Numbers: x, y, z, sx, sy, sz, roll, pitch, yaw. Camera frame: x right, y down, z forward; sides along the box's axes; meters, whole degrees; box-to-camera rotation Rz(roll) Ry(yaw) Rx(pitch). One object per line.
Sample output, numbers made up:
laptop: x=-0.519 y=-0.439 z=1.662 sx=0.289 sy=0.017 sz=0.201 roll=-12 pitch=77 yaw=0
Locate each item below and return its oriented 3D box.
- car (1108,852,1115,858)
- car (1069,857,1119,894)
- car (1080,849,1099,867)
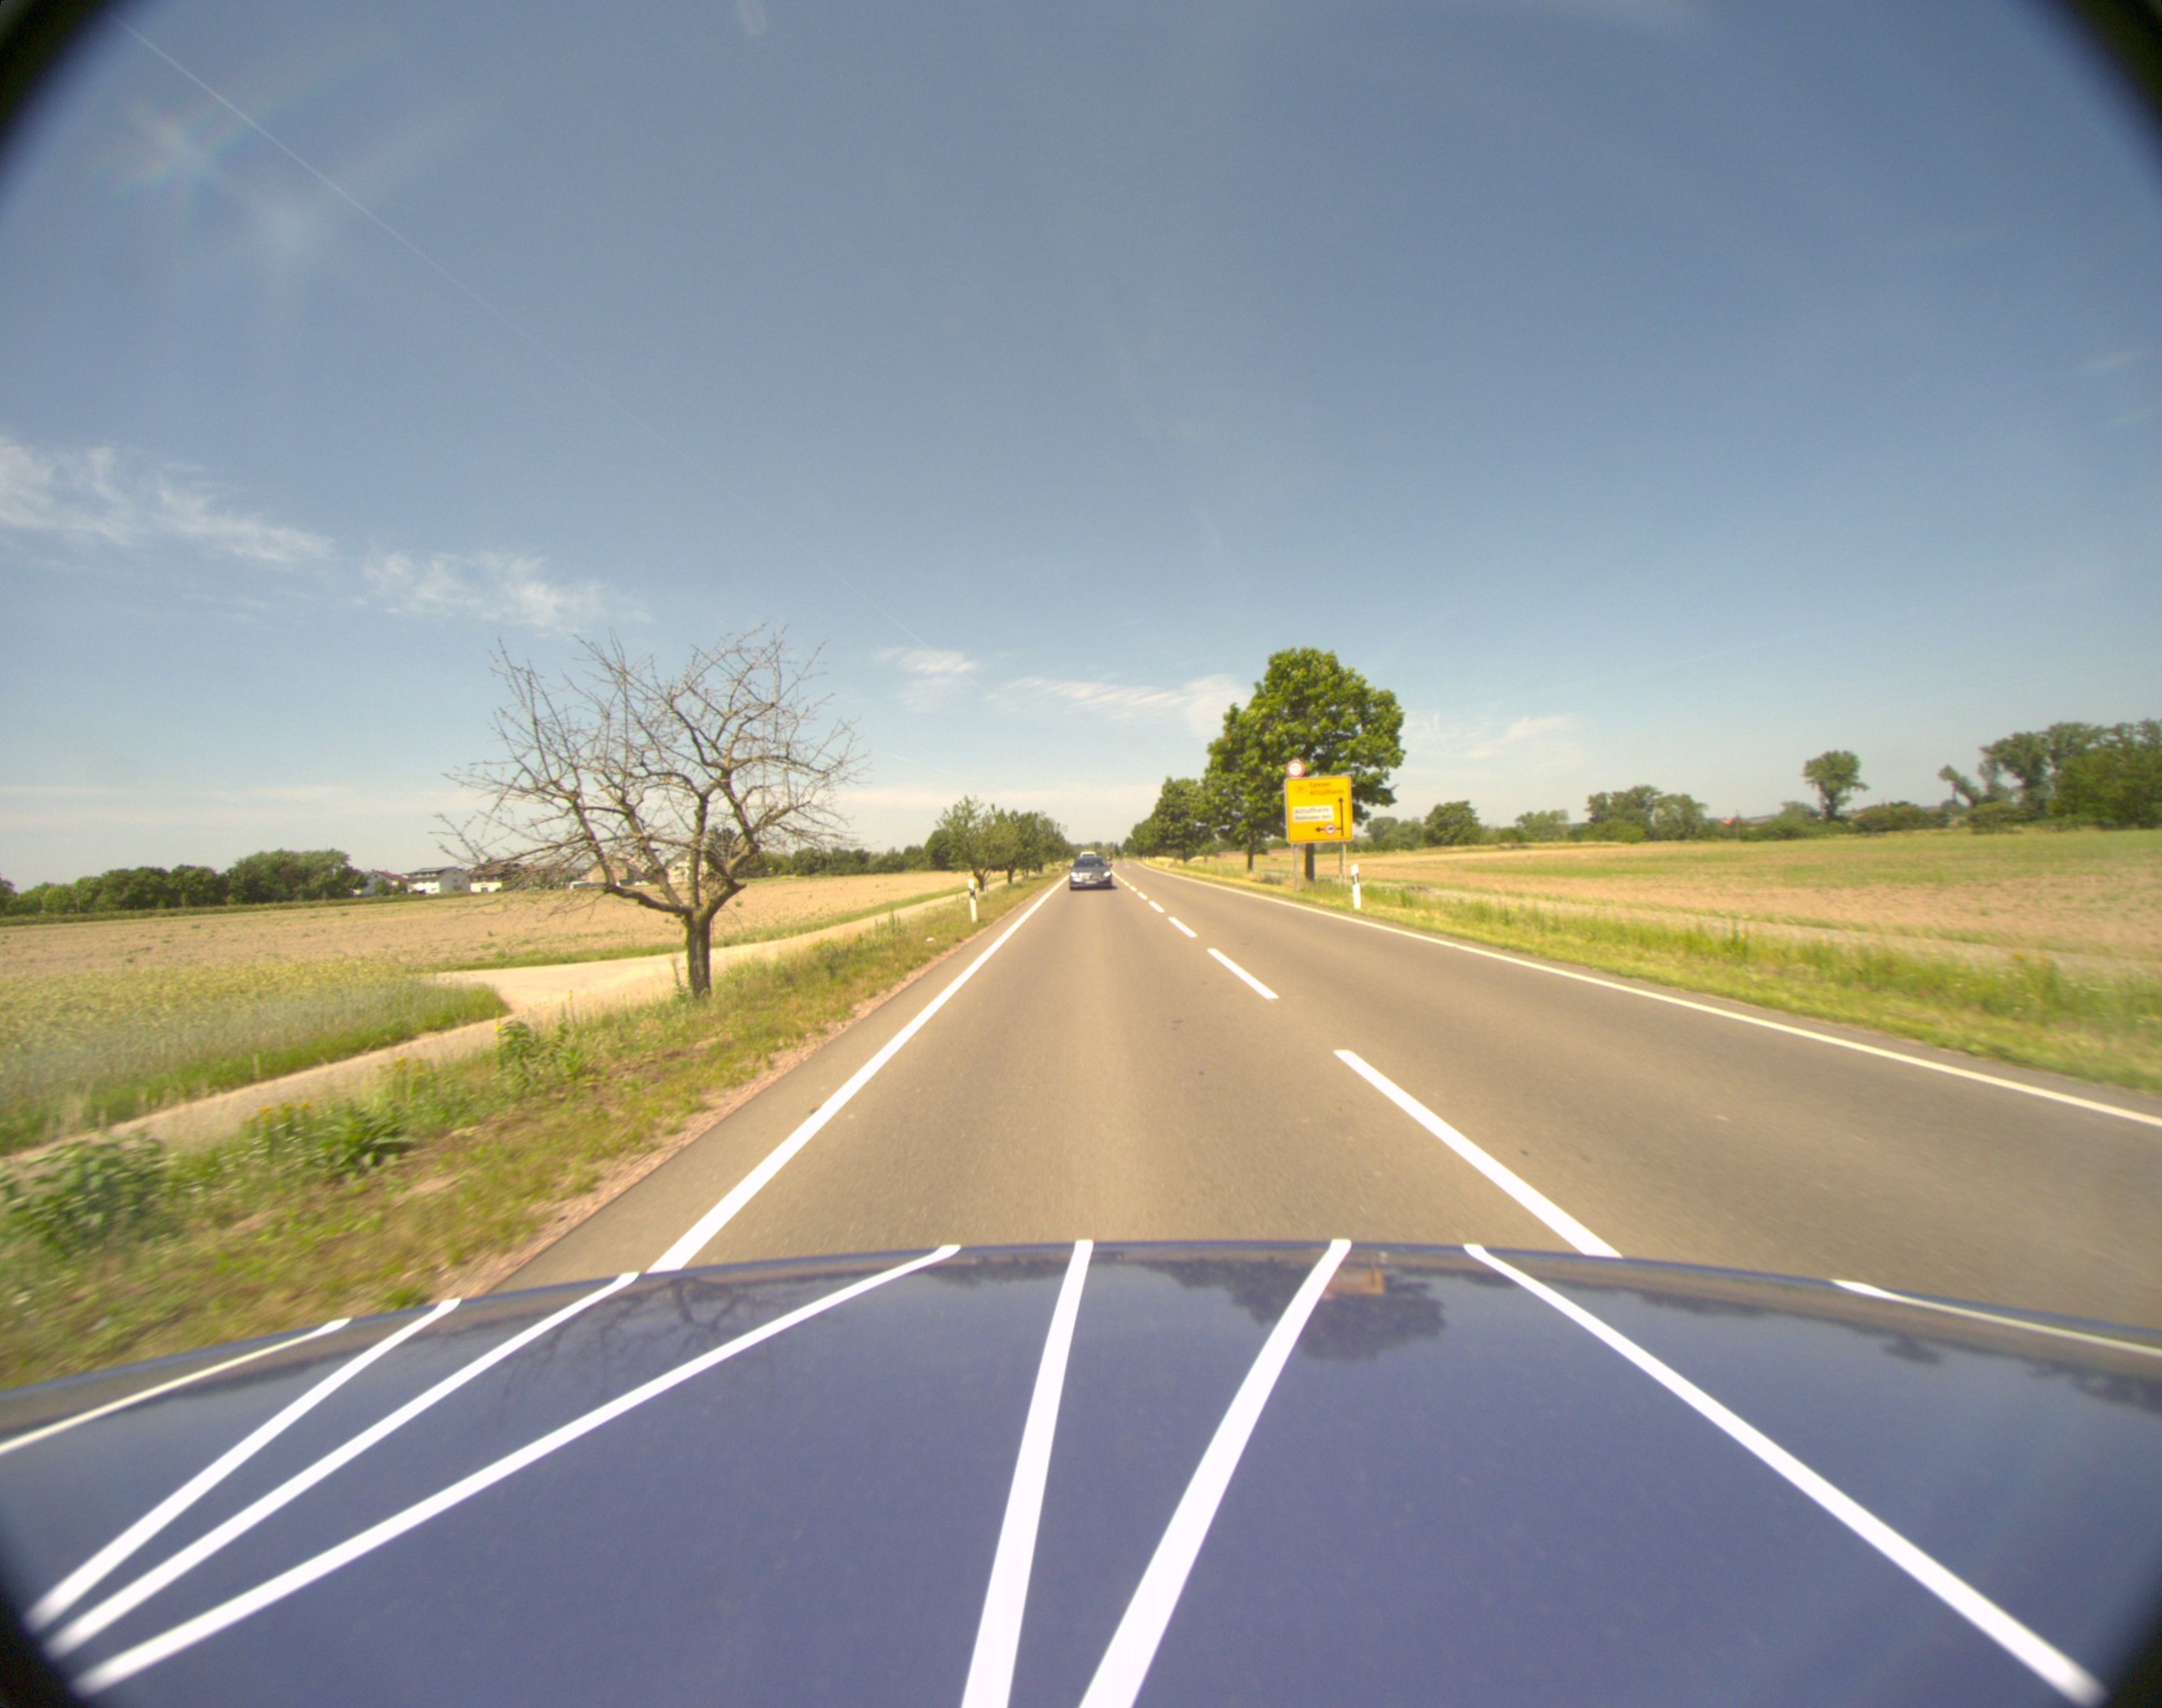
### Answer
car: x=9.720 y=0.280 z=240.565 sx=1.998 sy=1.543 sz=4.317 roll=-3 pitch=0 yaw=3
car: x=0.512 y=0.847 z=32.013 sx=1.954 sy=1.391 sz=3.999 roll=-1 pitch=0 yaw=0
car: x=0.929 y=0.482 z=86.244 sx=1.998 sy=1.907 sz=4.206 roll=-3 pitch=0 yaw=1
